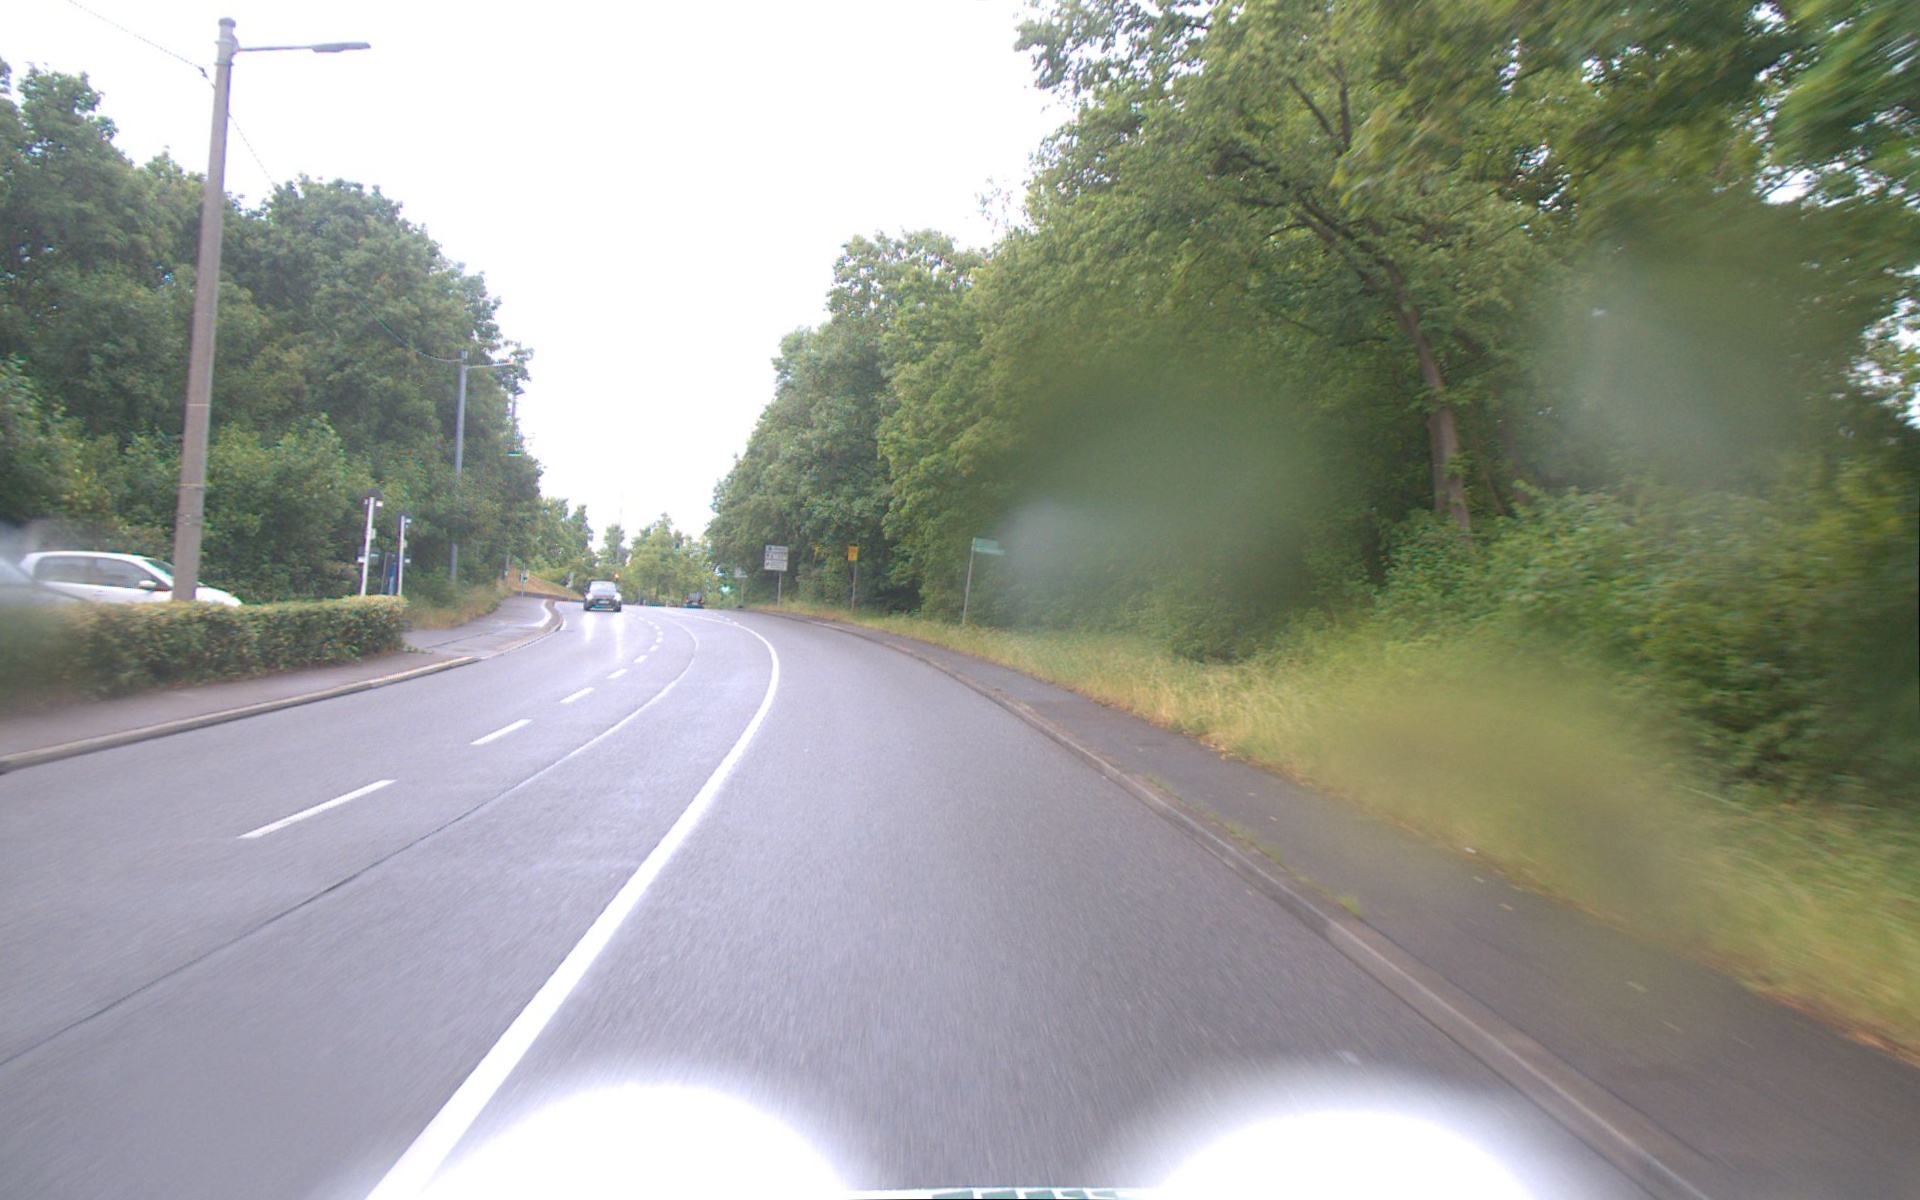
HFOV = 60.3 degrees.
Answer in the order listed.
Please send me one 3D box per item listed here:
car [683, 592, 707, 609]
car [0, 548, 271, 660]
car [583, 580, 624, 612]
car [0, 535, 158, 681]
[{"bbox_3d":[-25.983,0.055,162.127,1.897,1.524,4.314,2,0,-4],"label":"car"},{"bbox_3d":[-13.330,0.067,26.778,3.576,1.619,1.848,2,0,-8],"label":"car"},{"bbox_3d":[-17.968,-0.208,83.369,1.901,1.524,4.304,2,0,-13],"label":"car"},{"bbox_3d":[-12.874,0.034,21.145,4.204,1.738,2.000,2,0,-1],"label":"car"}]
